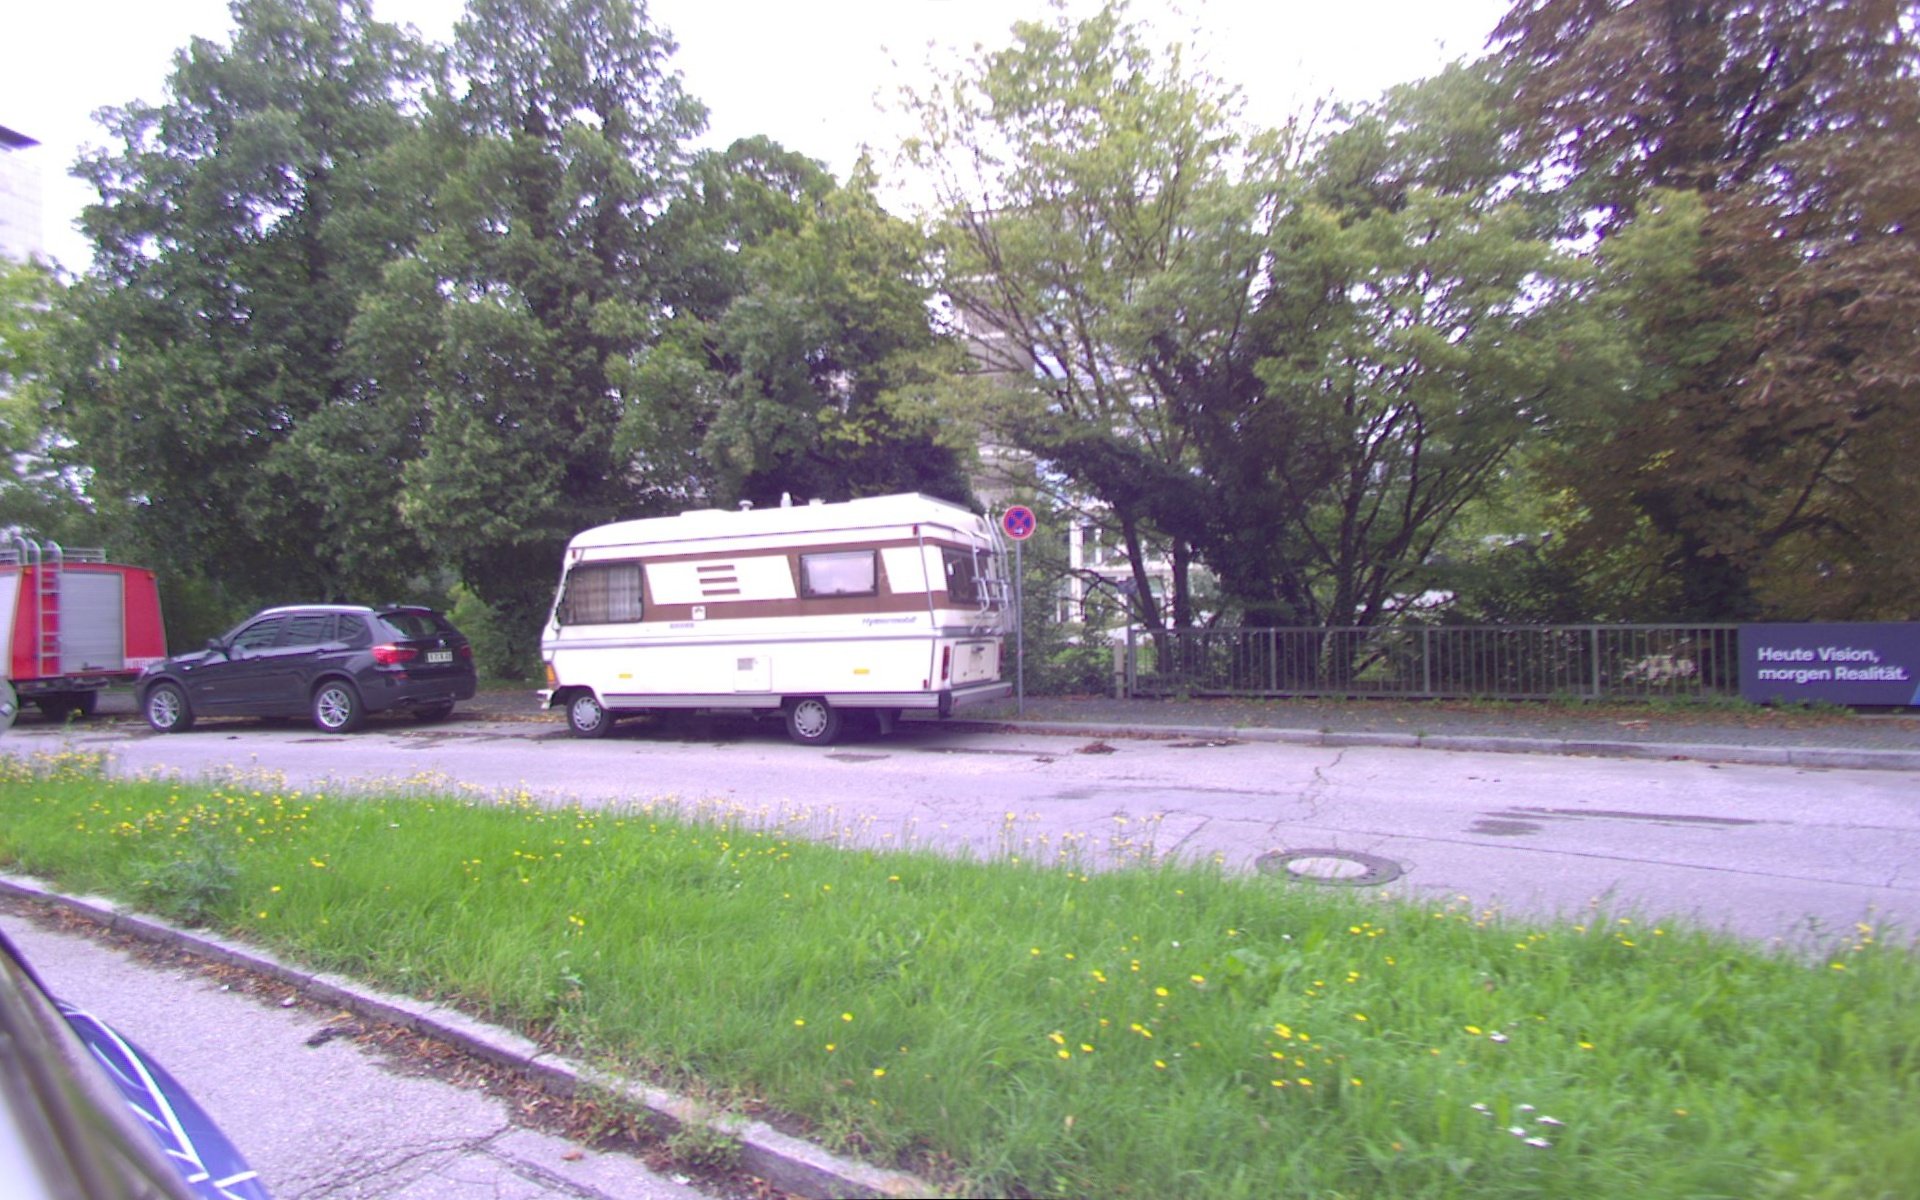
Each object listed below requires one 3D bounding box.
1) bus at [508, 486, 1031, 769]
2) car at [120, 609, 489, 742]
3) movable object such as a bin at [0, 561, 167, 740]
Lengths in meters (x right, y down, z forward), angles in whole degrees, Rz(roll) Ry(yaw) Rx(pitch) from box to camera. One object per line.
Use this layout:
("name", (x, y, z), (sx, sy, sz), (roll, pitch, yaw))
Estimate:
("bus", (-2.234, 0.353, 11.872), (5.693, 2.719, 2.306), (-1, -2, 21))
("car", (-9.055, 1.014, 14.080), (4.416, 1.662, 1.774), (-1, -2, 14))
("movable object such as a bin", (-15.767, 0.785, 15.807), (6.129, 2.477, 2.100), (-1, -2, 16))
